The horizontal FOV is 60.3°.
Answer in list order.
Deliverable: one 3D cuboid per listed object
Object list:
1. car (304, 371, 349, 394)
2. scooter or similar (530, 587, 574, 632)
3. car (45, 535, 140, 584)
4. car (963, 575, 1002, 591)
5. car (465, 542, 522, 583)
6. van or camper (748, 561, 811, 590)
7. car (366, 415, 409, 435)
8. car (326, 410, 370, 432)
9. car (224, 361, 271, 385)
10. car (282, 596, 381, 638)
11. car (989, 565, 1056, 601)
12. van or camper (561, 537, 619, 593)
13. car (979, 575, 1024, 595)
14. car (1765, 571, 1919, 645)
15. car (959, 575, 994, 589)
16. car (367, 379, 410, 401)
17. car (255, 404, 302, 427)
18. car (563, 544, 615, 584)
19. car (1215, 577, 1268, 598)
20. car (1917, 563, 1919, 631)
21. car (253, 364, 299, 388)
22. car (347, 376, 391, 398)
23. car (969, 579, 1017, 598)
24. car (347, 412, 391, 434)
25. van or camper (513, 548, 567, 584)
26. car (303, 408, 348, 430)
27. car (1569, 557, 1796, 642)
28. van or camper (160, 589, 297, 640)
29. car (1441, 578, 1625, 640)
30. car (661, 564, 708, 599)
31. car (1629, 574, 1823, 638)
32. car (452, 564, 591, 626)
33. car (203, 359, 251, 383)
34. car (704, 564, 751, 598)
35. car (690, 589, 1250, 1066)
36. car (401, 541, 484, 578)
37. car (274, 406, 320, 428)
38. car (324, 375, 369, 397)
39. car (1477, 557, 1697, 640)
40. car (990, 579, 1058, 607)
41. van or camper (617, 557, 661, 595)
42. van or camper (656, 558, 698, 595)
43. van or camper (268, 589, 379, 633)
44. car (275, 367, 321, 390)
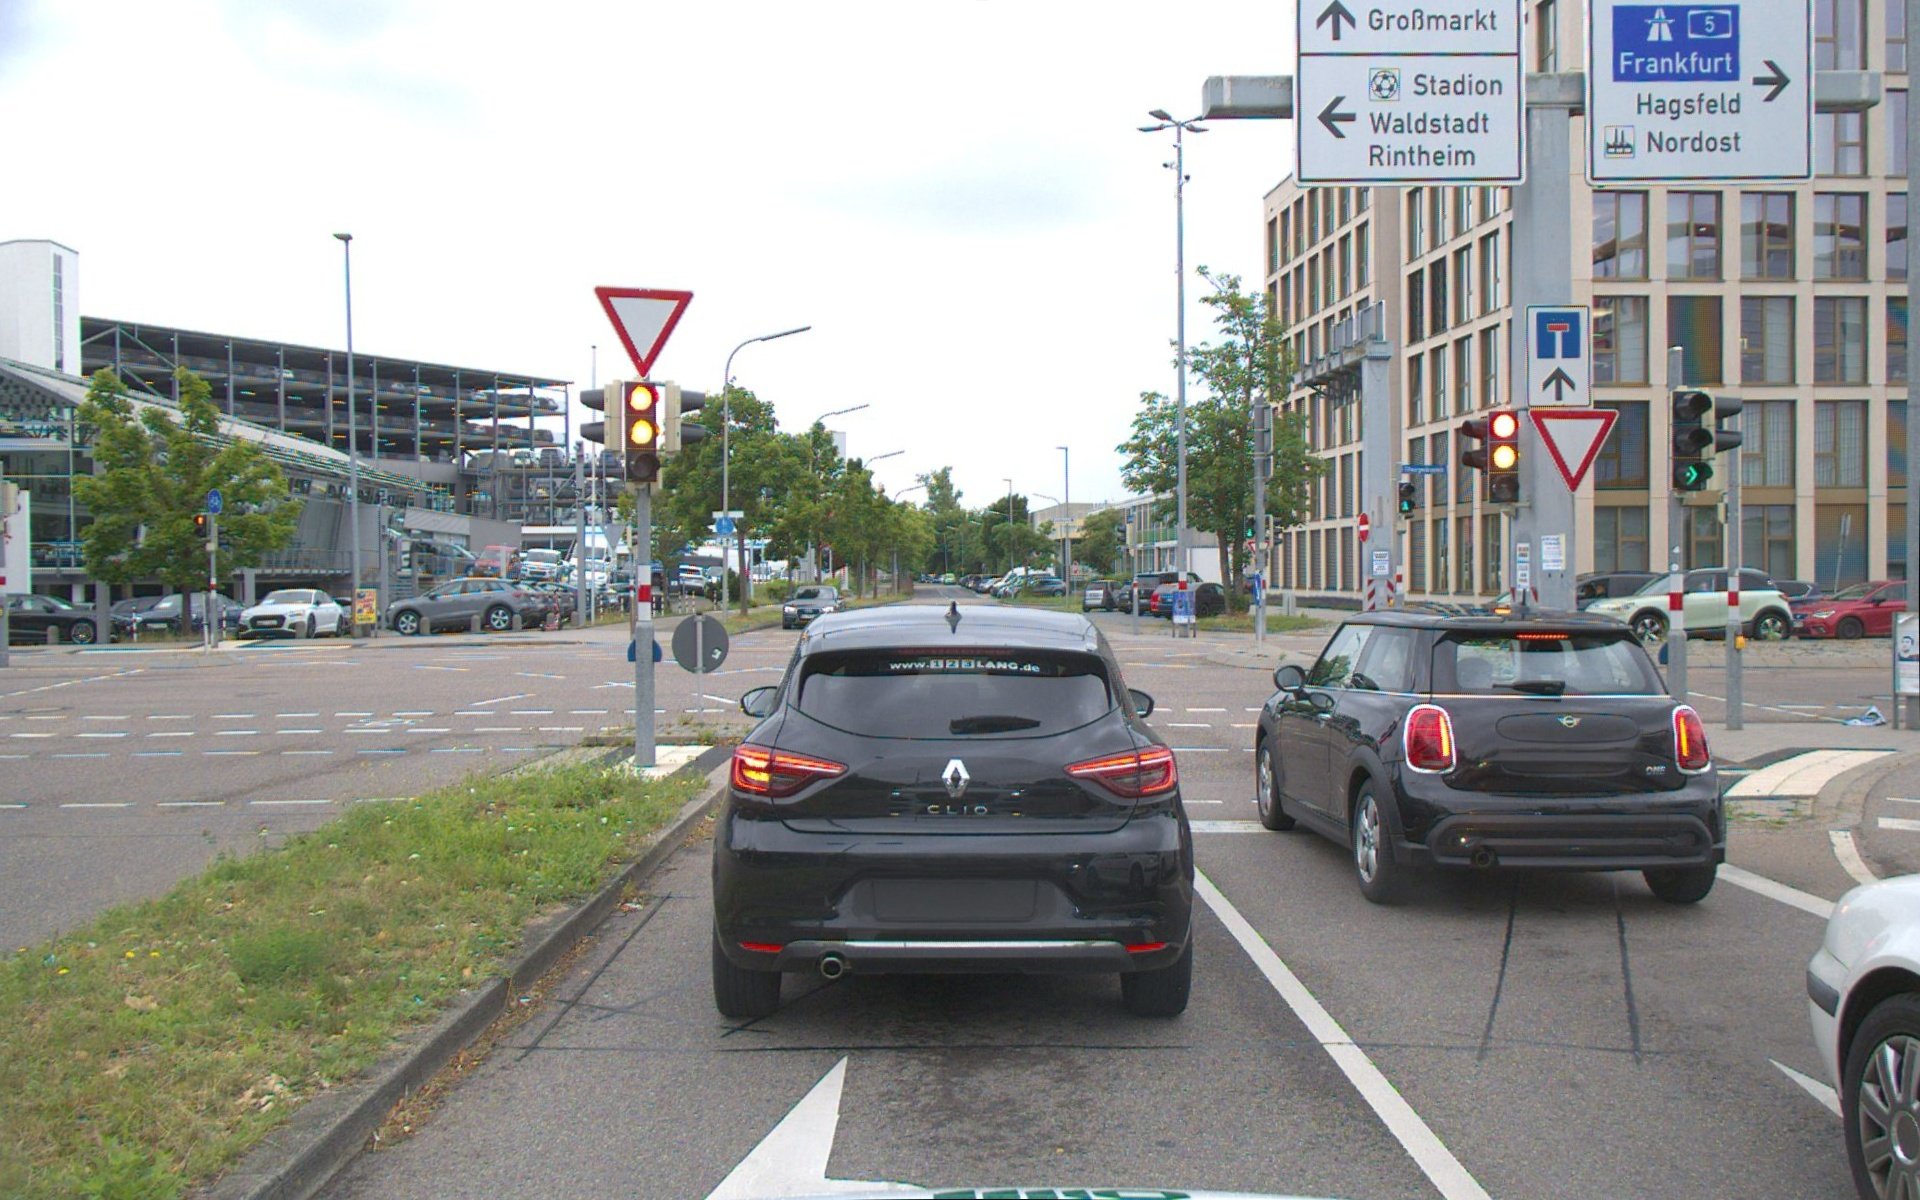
[{"bbox_3d":[-59.608,-20.426,155.624,3.914,1.696,1.996,1,1,31],"label":"car"},{"bbox_3d":[-11.863,0.269,48.103,0.545,1.240,1.561,2,1,13],"label":"scooter or similar"},{"bbox_3d":[-32.742,-1.496,62.536,1.784,1.691,3.995,1,0,-5],"label":"car"},{"bbox_3d":[2.986,-2.212,218.269,5.069,2.049,2.143,1,0,-2],"label":"car"},{"bbox_3d":[-23.440,-1.860,83.193,1.954,1.881,3.996,1,0,-4],"label":"car"},{"bbox_3d":[-16.313,-2.210,150.023,5.486,2.413,1.999,1,0,-2],"label":"van or camper"},{"bbox_3d":[-55.969,-17.097,161.748,3.914,1.696,1.996,1,1,31],"label":"car"},{"bbox_3d":[-58.365,-17.072,157.664,3.914,1.696,1.996,1,1,31],"label":"car"},{"bbox_3d":[-64.023,-20.404,148.652,3.914,1.696,1.996,1,1,31],"label":"car"},{"bbox_3d":[-29.107,0.785,76.638,3.911,1.870,1.757,1,0,-7],"label":"car"},{"bbox_3d":[5.720,-1.549,151.660,5.993,3.171,2.133,1,0,-2],"label":"car"},{"bbox_3d":[-21.083,-1.957,94.350,2.486,3.079,4.839,1,0,-4],"label":"van or camper"},{"bbox_3d":[4.393,-1.583,175.632,4.690,1.924,2.142,1,0,-3],"label":"car"},{"bbox_3d":[21.257,0.198,38.686,3.908,1.629,1.998,1,0,-4],"label":"car"},{"bbox_3d":[2.246,-2.489,229.910,4.690,1.924,2.142,1,0,-3],"label":"car"},{"bbox_3d":[-55.905,-20.517,161.817,3.914,1.696,1.996,1,1,31],"label":"car"},{"bbox_3d":[-62.298,-16.843,151.167,3.914,1.696,1.996,1,1,31],"label":"car"},{"bbox_3d":[-18.619,-1.771,83.154,1.954,1.855,3.996,1,0,-4],"label":"car"},{"bbox_3d":[18.913,-0.829,111.194,3.182,1.356,1.477,1,0,-20],"label":"car"},{"bbox_3d":[27.217,-0.043,42.597,4.055,1.800,1.998,1,0,-5],"label":"car"},{"bbox_3d":[-62.471,-20.471,151.070,3.914,1.696,1.996,1,1,31],"label":"car"},{"bbox_3d":[-57.149,-20.554,159.975,3.914,1.696,1.996,1,1,31],"label":"car"},{"bbox_3d":[3.621,-1.266,182.215,5.069,2.049,2.143,1,0,-2],"label":"car"},{"bbox_3d":[-57.104,-17.097,159.878,3.914,1.696,1.996,1,1,31],"label":"car"},{"bbox_3d":[-21.035,-1.701,82.990,1.954,1.680,3.996,1,0,-4],"label":"van or camper"},{"bbox_3d":[-59.660,-17.036,155.518,3.914,1.696,1.996,1,1,31],"label":"car"},{"bbox_3d":[15.214,-0.009,34.922,3.977,1.672,1.903,1,0,-6],"label":"car"},{"bbox_3d":[-25.598,0.512,57.999,3.909,1.707,1.998,1,0,-5],"label":"van or camper"},{"bbox_3d":[14.327,0.229,41.461,4.005,1.457,1.749,1,0,-5],"label":"car"},{"bbox_3d":[-13.841,-0.916,83.189,1.954,1.646,3.996,1,0,-4],"label":"car"},{"bbox_3d":[19.293,0.155,41.762,4.055,1.517,1.870,1,0,-5],"label":"car"},{"bbox_3d":[-16.220,-0.178,61.404,4.683,2.049,1.997,-2,0,-7],"label":"car"},{"bbox_3d":[-64.959,-20.275,146.588,3.914,1.696,1.996,1,1,31],"label":"car"},{"bbox_3d":[-11.877,-0.926,84.589,1.954,1.646,3.998,1,0,-3],"label":"car"},{"bbox_3d":[0.006,0.717,7.145,1.721,1.460,3.999,1,0,-1],"label":"car"},{"bbox_3d":[-28.063,-2.180,89.784,3.908,1.870,1.759,1,0,-4],"label":"car"},{"bbox_3d":[-61.440,-16.957,153.261,3.914,1.696,1.996,1,1,31],"label":"car"},{"bbox_3d":[-58.492,-20.398,157.653,3.914,1.696,1.996,1,1,31],"label":"car"},{"bbox_3d":[14.424,-0.029,38.179,4.321,1.800,1.998,1,0,-5],"label":"car"},{"bbox_3d":[4.992,-0.537,129.036,5.070,2.049,2.142,1,0,-3],"label":"car"},{"bbox_3d":[-18.296,-1.354,94.382,1.954,2.049,3.996,1,0,-4],"label":"van or camper"},{"bbox_3d":[-16.143,-1.316,94.606,1.954,2.049,3.996,1,0,-4],"label":"van or camper"},{"bbox_3d":[-26.455,0.476,68.869,3.909,1.741,1.845,1,0,-5],"label":"van or camper"},{"bbox_3d":[-61.234,-20.442,152.957,3.914,1.696,1.996,1,1,31],"label":"car"}]
